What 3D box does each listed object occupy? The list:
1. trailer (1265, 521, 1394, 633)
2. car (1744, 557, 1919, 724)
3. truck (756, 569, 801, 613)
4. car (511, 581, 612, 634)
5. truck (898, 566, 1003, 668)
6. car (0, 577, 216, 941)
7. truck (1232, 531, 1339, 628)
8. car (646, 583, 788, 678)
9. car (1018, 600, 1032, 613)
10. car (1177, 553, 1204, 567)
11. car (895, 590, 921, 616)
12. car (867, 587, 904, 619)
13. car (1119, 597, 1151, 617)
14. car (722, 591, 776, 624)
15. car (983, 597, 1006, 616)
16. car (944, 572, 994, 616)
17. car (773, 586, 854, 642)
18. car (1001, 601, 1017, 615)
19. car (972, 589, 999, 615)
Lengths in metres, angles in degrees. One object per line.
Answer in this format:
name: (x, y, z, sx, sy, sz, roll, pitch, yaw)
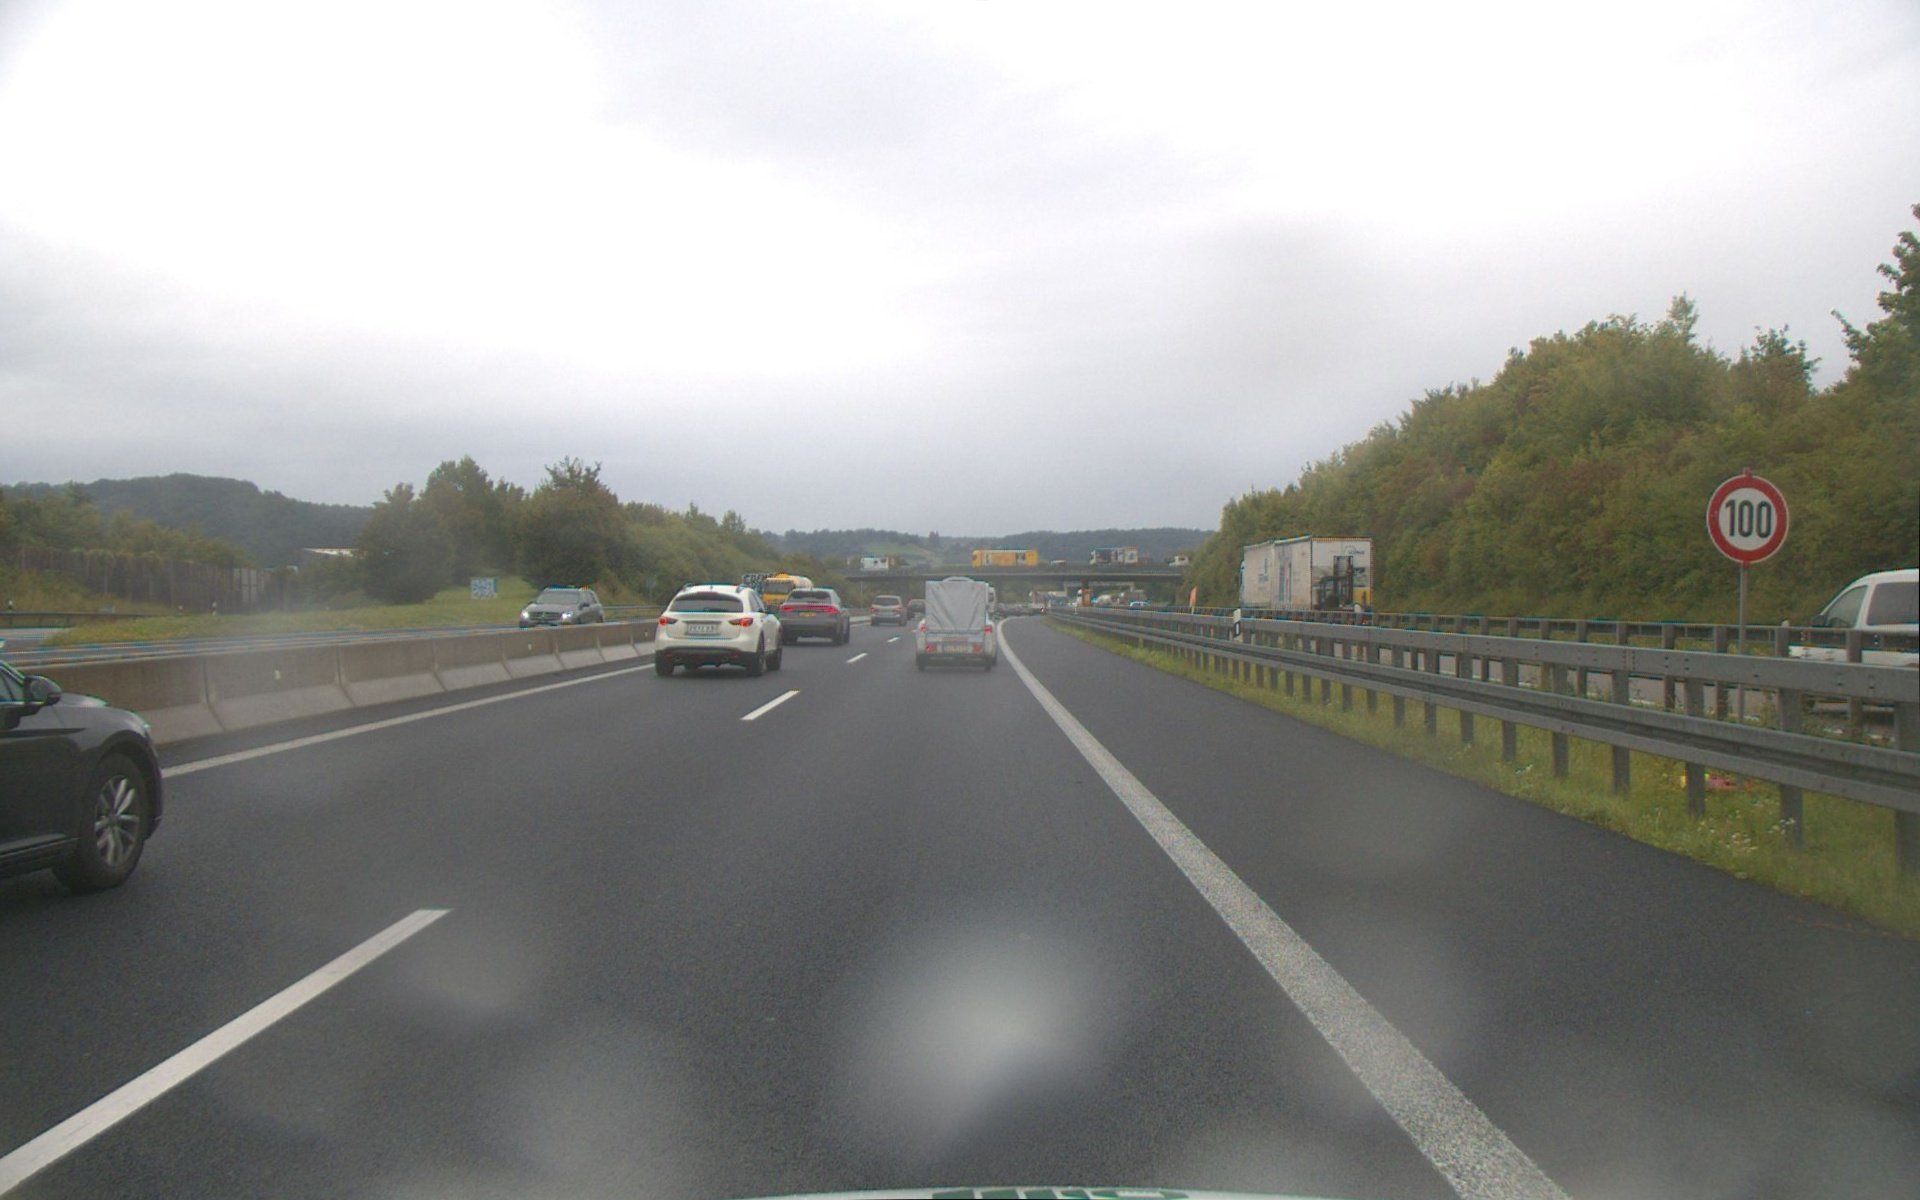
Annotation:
trailer: (15.436, -0.928, 70.031, 3.366, 4.364, 10.456, 0, 0, 1)
car: (11.423, 0.448, 19.724, 1.822, 1.837, 4.646, 0, 0, -2)
truck: (-14.750, -0.683, 134.794, 2.704, 3.458, 5.847, 1, 0, 2)
car: (-13.513, 0.219, 56.379, 2.134, 1.725, 4.734, 0, 0, 3)
truck: (-0.101, 0.320, 36.590, 1.977, 2.020, 7.215, 0, 0, 2)
car: (-4.939, 0.659, 6.443, 1.861, 1.523, 4.851, 0, 0, 0)
truck: (15.685, -0.968, 80.460, 3.366, 4.364, 10.420, 0, 0, 1)
car: (-4.498, 0.530, 31.286, 1.935, 1.668, 4.501, 0, 0, 1)
car: (9.402, 0.898, 239.536, 1.952, 1.780, 4.001, 1, 0, 3)
car: (35.048, -6.088, 251.476, 1.824, 1.948, 3.946, 1, 0, -38)
car: (-3.737, 0.228, 120.288, 1.804, 1.851, 3.999, 0, 0, -1)
car: (-4.040, 0.147, 89.785, 1.862, 1.641, 4.016, 0, 0, -1)
car: (12.796, 0.514, 121.079, 1.822, 1.472, 4.157, 0, 0, -1)
car: (-11.612, 0.390, 91.173, 2.134, 1.725, 4.866, 0, 0, 3)
car: (3.255, 0.587, 158.464, 1.953, 1.780, 3.998, 1, 0, -2)
car: (0.620, -0.410, 104.430, 2.954, 2.662, 6.076, 0, 0, 2)
car: (-4.488, 0.408, 51.378, 2.130, 1.660, 4.500, 0, 0, 0)
car: (6.308, 0.999, 211.642, 1.952, 1.780, 4.001, 1, 0, 1)
car: (2.132, 0.168, 139.614, 1.953, 2.071, 4.150, 1, 0, -2)
